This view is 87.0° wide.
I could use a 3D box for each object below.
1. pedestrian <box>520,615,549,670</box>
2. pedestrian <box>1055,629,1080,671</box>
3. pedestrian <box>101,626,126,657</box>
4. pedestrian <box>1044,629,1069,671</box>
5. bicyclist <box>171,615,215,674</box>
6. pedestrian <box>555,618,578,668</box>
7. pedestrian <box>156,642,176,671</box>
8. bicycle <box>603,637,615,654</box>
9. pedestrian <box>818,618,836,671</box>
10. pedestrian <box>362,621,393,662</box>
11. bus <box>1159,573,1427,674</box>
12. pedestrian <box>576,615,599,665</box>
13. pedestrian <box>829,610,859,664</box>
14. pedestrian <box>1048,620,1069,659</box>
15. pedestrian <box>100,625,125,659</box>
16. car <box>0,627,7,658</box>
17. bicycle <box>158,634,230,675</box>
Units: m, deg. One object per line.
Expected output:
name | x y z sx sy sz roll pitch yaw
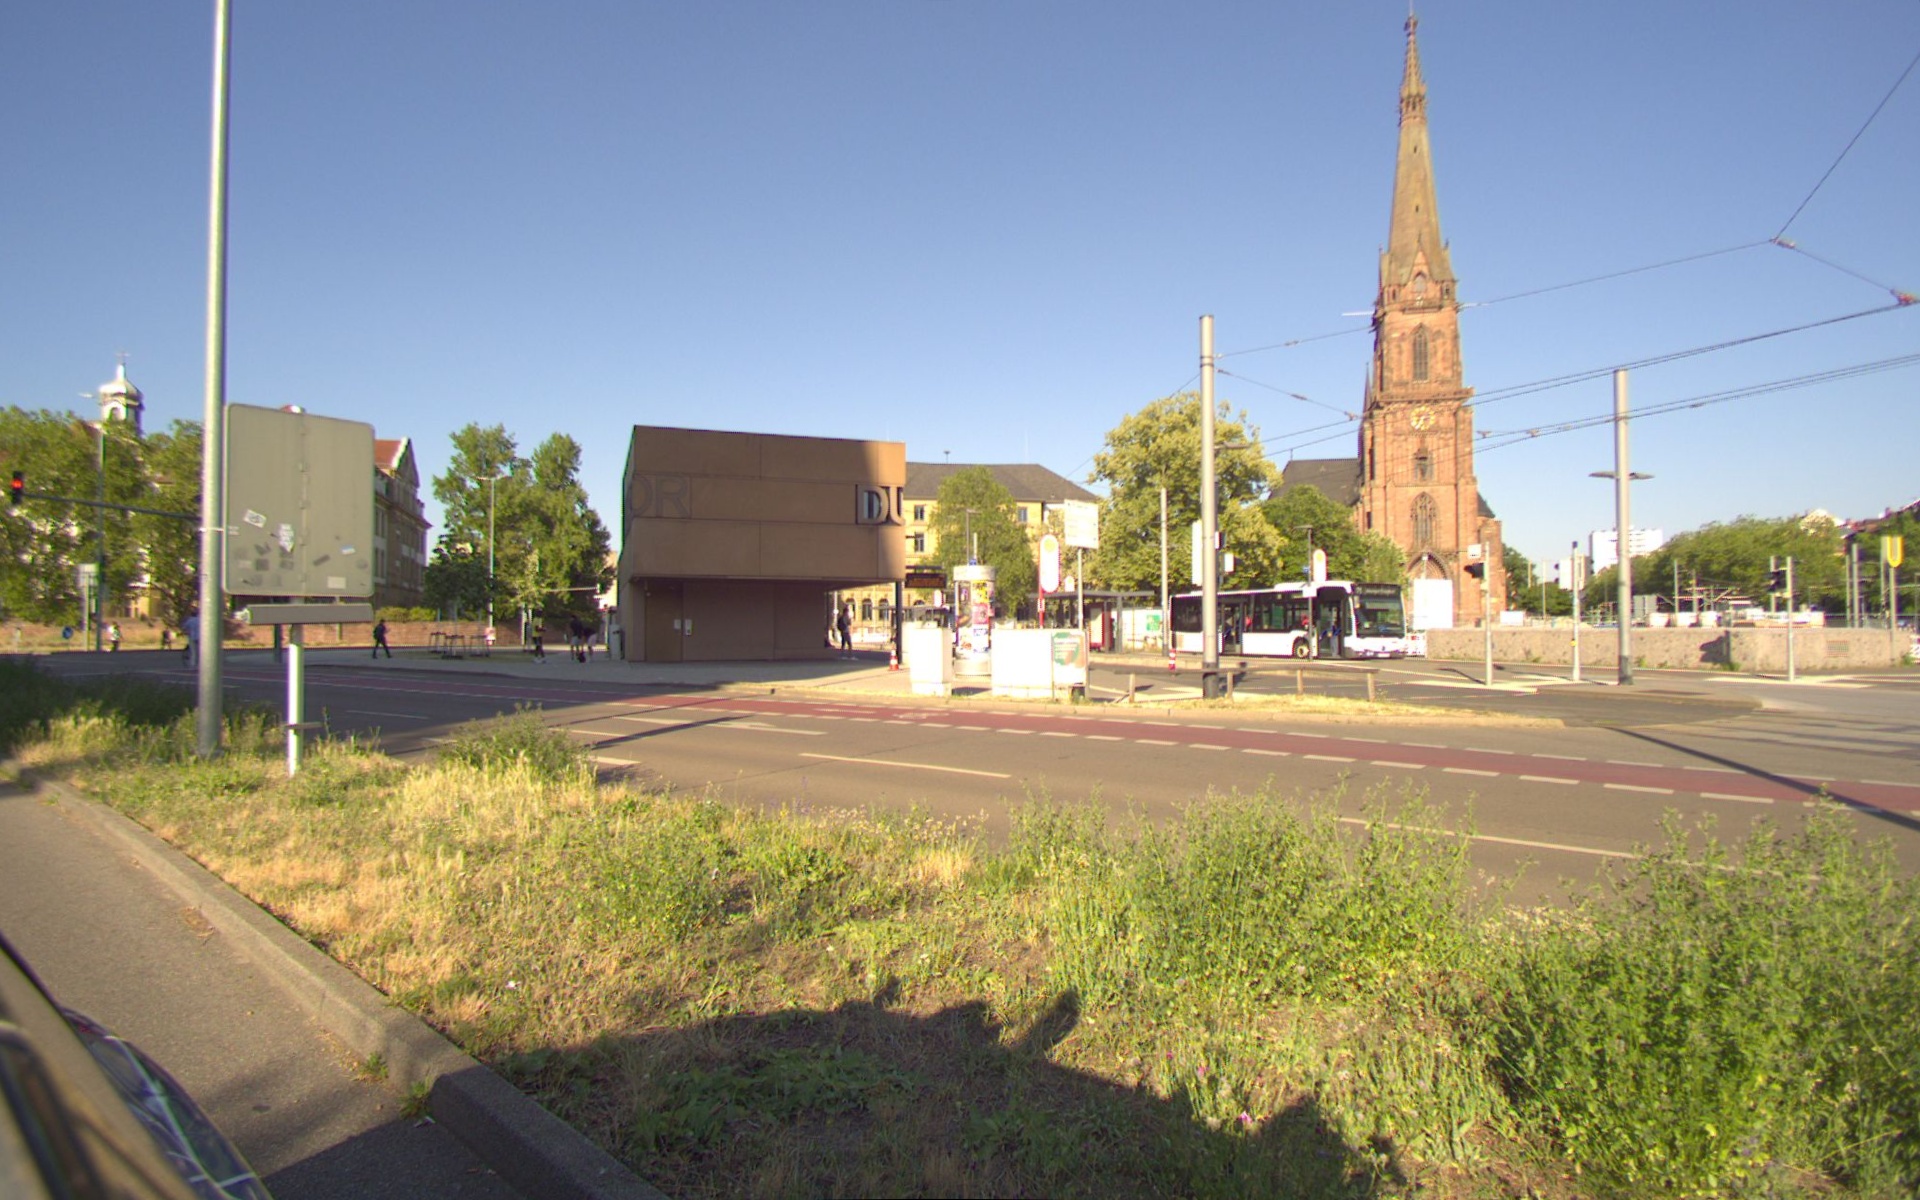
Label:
pedestrian | -14.650 1.475 34.831 0.639 1.849 0.708 -4 -3 44
pedestrian | 5.063 2.358 47.715 0.964 1.997 0.721 1 -3 -18
pedestrian | -48.186 2.349 57.621 0.711 1.687 0.863 2 0 33
pedestrian | 4.711 2.435 49.450 0.979 1.997 0.831 1 -3 -18
bicyclist | -24.425 1.413 32.229 1.008 1.846 0.736 0 -1 25
pedestrian | -13.608 1.487 35.004 0.628 1.702 0.551 -1 -3 -33
pedestrian | -47.196 3.351 60.177 0.779 1.665 0.715 3 0 -30
bicycle | -24.028 3.113 69.288 0.557 1.062 1.979 -1 -1 -15
pedestrian | -5.291 1.767 40.181 0.604 2.029 0.809 -2 -2 -10
pedestrian | -24.604 1.741 42.719 0.746 1.697 0.889 -2 -2 33
bus | 12.709 0.781 40.691 3.194 3.342 12.227 4 -1 -20
pedestrian | -13.349 1.425 36.246 0.723 1.744 0.667 -1 -2 -21
pedestrian | -4.333 1.374 37.927 0.964 1.997 0.721 1 -3 -20
pedestrian | 5.066 2.049 52.211 0.802 1.997 0.757 1 -3 -18
pedestrian | -48.720 2.390 58.176 0.711 1.908 0.863 2 0 33
car | -51.817 2.237 51.706 4.538 1.598 2.197 0 -3 -45
bicycle | -24.389 1.715 32.209 2.542 1.265 0.736 0 -1 26
